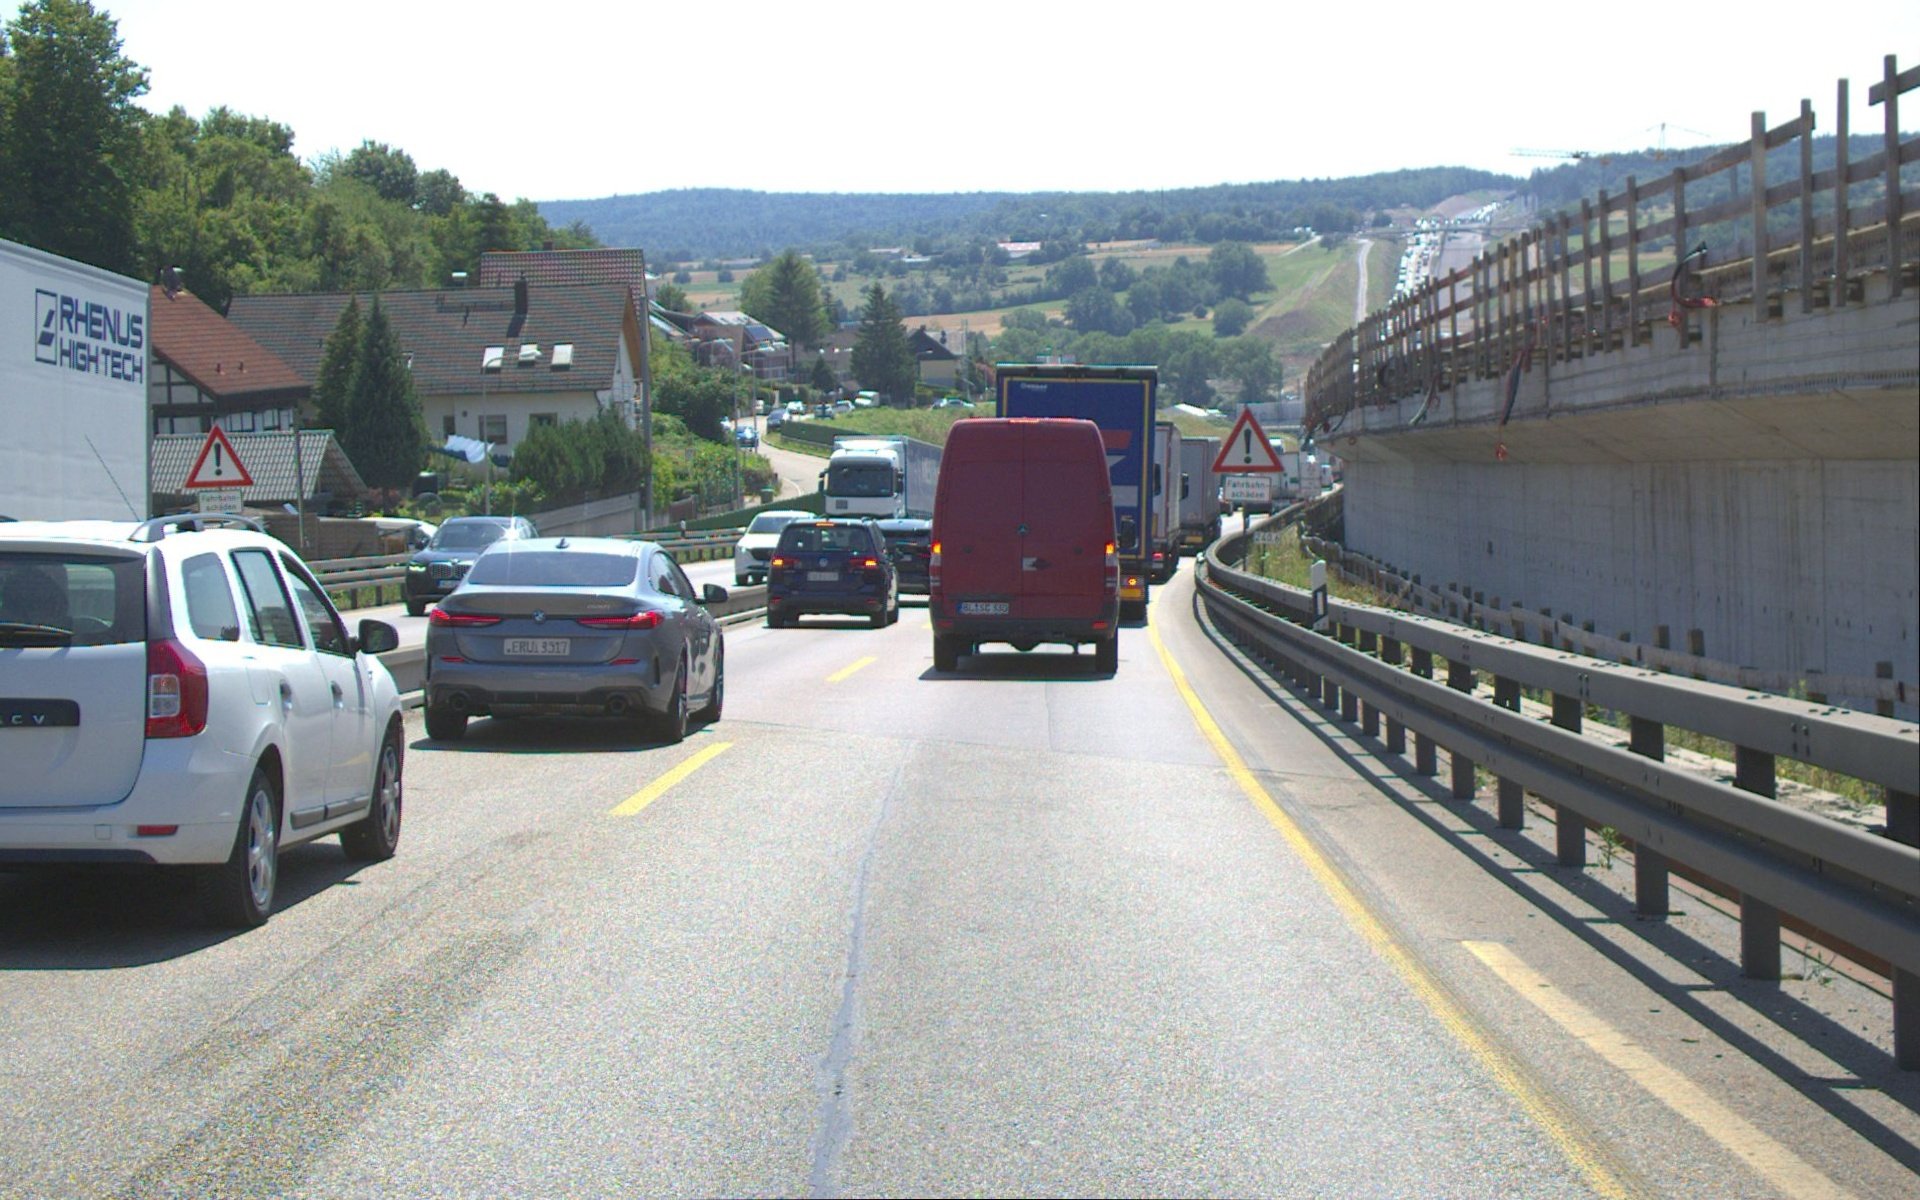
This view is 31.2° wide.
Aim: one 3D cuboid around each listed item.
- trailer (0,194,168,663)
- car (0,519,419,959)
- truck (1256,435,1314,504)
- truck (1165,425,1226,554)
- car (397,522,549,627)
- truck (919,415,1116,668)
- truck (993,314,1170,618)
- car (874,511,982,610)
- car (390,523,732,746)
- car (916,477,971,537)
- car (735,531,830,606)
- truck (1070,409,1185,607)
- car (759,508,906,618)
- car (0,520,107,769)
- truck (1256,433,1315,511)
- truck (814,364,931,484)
[{"bbox_3d":[-9.961,-1.540,31.441,3.004,4.151,9.017,0,1,2],"label":"trailer"},{"bbox_3d":[-3.384,0.469,13.876,1.651,1.478,4.266,-2,1,0],"label":"car"},{"bbox_3d":[21.904,-8.788,232.084,3.467,4.366,8.556,0,0,2],"label":"truck"},{"bbox_3d":[8.165,-3.811,119.558,1.994,4.366,4.000,0,0,2],"label":"truck"},{"bbox_3d":[-8.383,-0.434,59.543,1.906,1.736,4.662,0,0,1],"label":"car"},{"bbox_3d":[0.654,-0.607,36.985,1.993,2.570,4.000,0,0,2],"label":"truck"},{"bbox_3d":[2.169,-2.142,59.258,2.786,4.799,9.684,0,0,3],"label":"truck"},{"bbox_3d":[-0.576,-0.736,65.254,1.729,1.832,3.999,0,0,4],"label":"car"},{"bbox_3d":[-2.787,0.197,24.883,1.795,1.480,4.049,0,1,3],"label":"car"},{"bbox_3d":[-0.694,-4.091,151.125,2.005,2.594,5.979,0,2,4],"label":"car"},{"bbox_3d":[-4.067,-0.723,79.322,1.750,1.681,4.387,0,0,3],"label":"car"},{"bbox_3d":[4.309,-2.253,88.295,2.786,4.799,9.684,0,0,3],"label":"truck"},{"bbox_3d":[-1.896,-0.553,52.304,1.810,1.602,3.718,0,0,5],"label":"car"},{"bbox_3d":[-6.585,0.267,20.221,1.782,1.473,4.620,0,1,3],"label":"car"},{"bbox_3d":[19.484,-7.647,206.141,3.069,4.366,8.556,0,0,2],"label":"truck"},{"bbox_3d":[-3.034,-6.140,121.383,3.136,4.065,6.878,0,2,7],"label":"truck"}]
